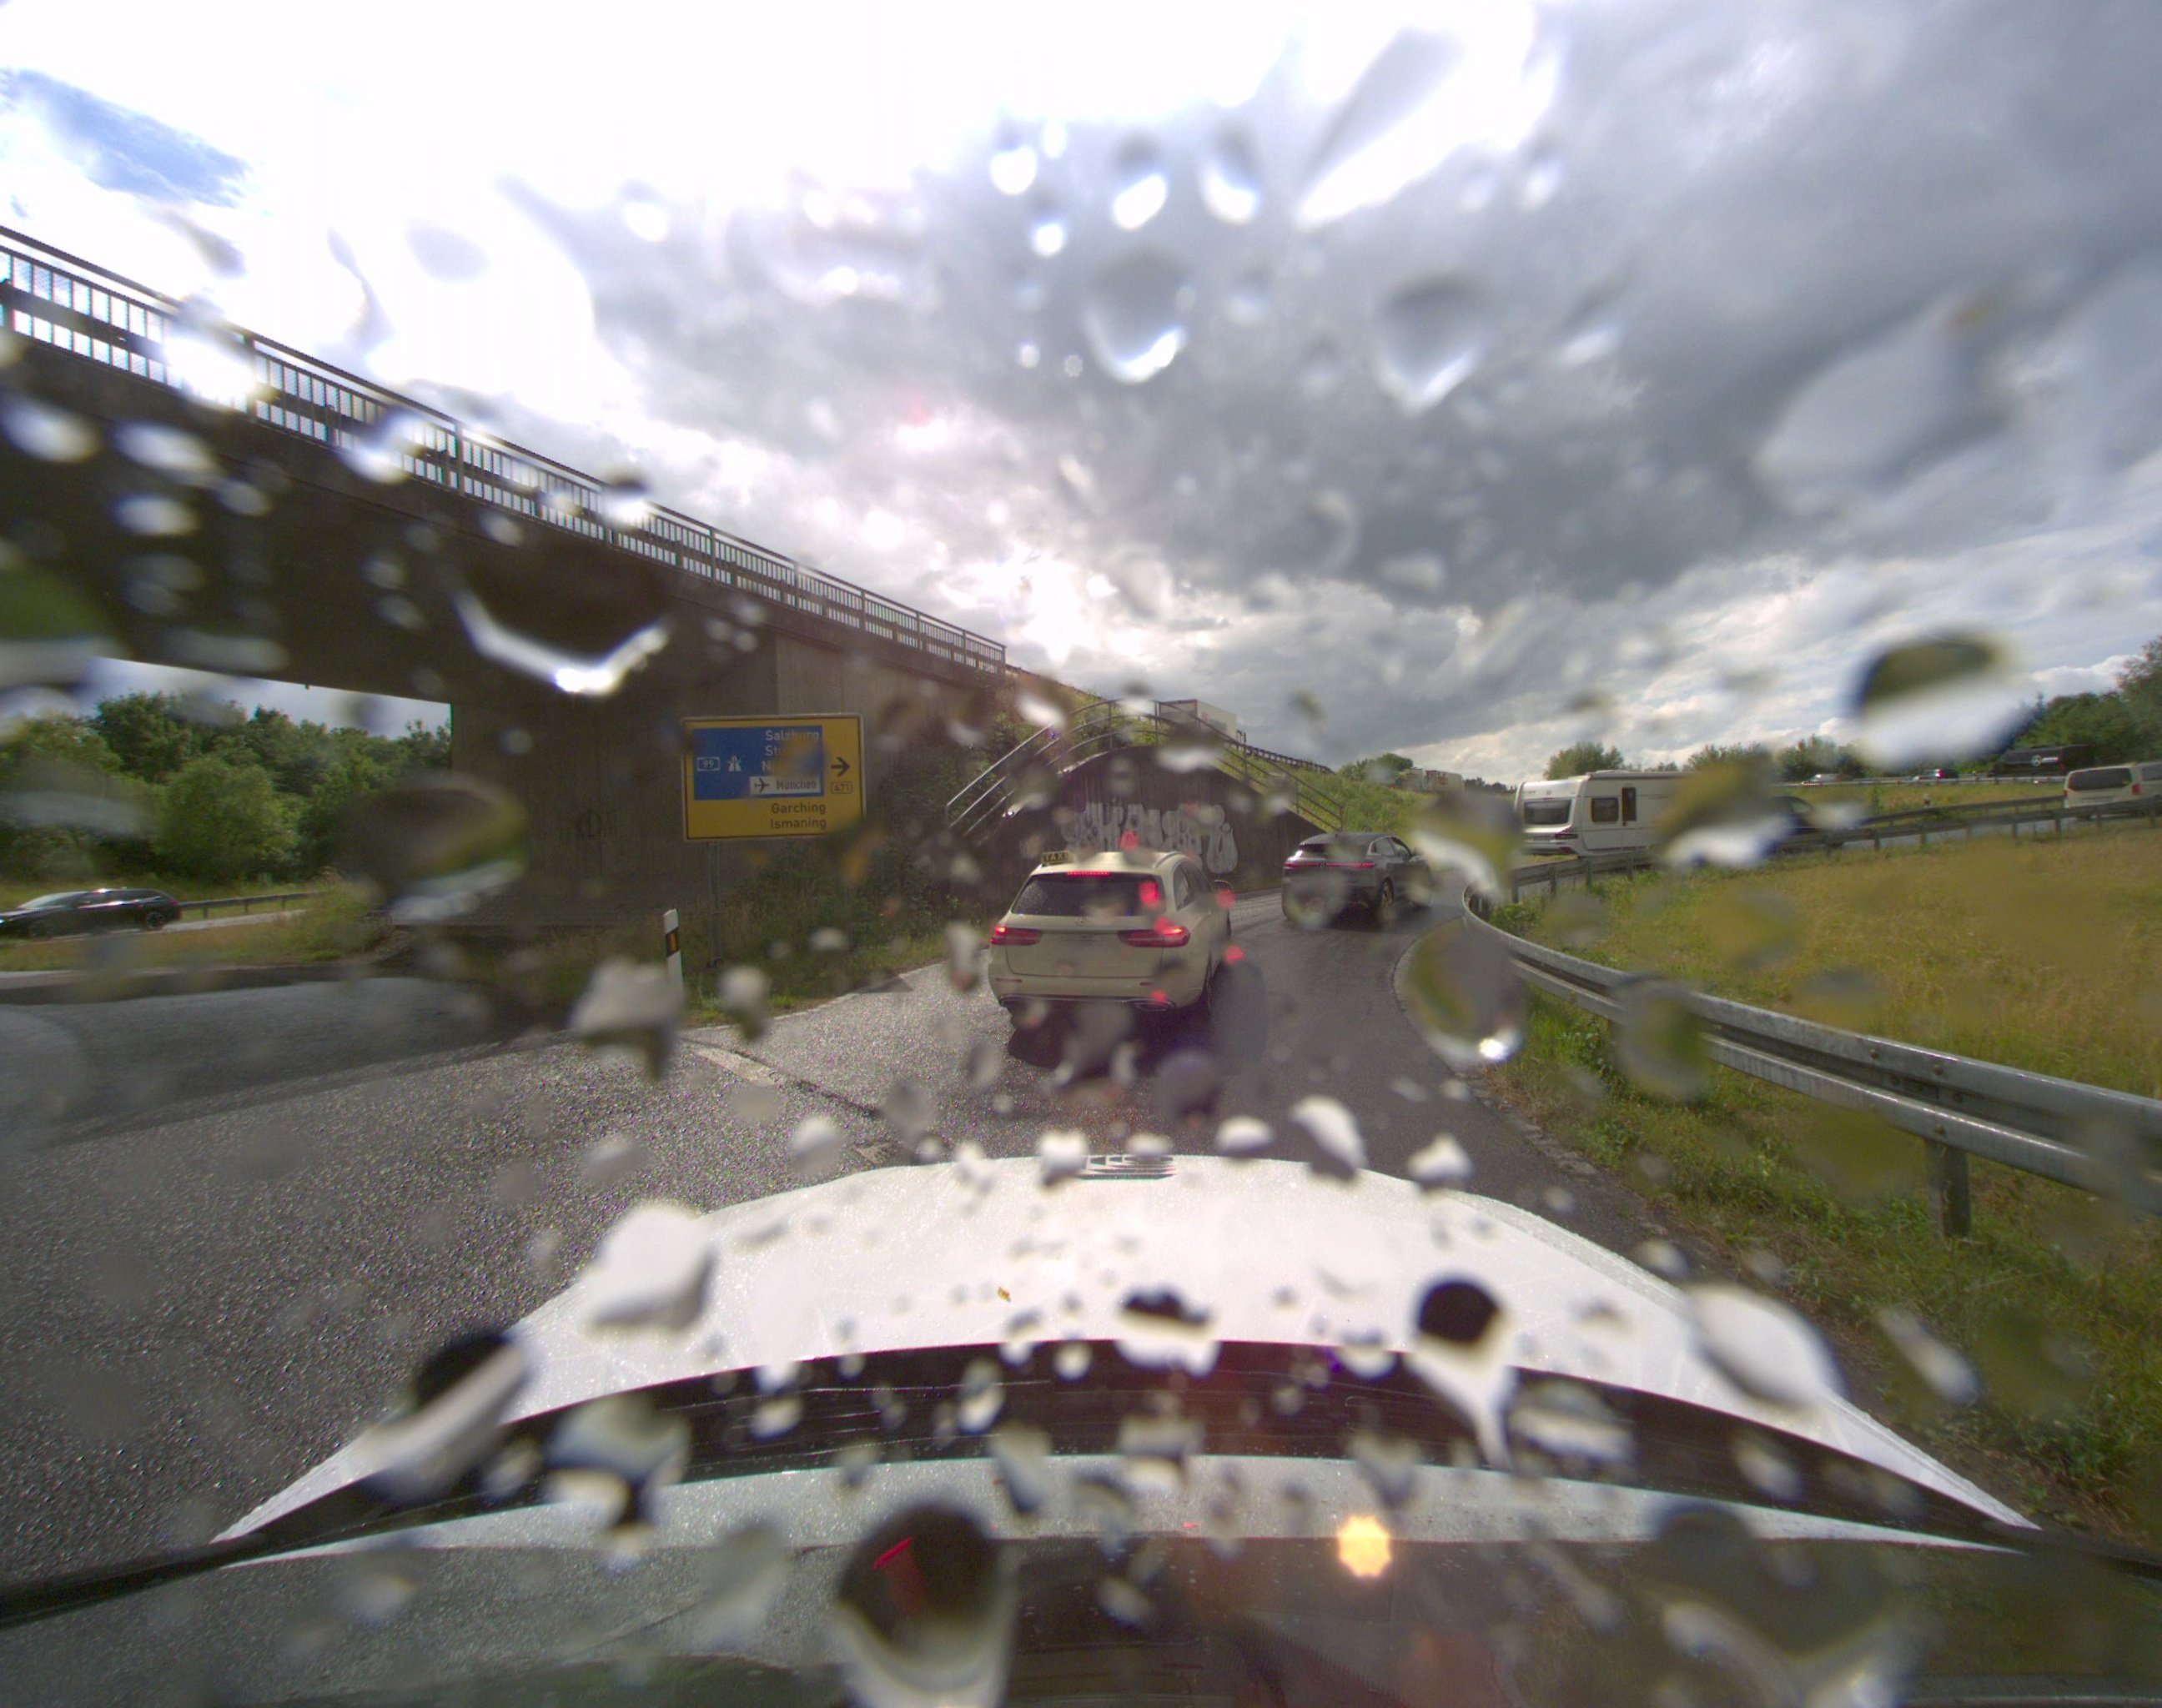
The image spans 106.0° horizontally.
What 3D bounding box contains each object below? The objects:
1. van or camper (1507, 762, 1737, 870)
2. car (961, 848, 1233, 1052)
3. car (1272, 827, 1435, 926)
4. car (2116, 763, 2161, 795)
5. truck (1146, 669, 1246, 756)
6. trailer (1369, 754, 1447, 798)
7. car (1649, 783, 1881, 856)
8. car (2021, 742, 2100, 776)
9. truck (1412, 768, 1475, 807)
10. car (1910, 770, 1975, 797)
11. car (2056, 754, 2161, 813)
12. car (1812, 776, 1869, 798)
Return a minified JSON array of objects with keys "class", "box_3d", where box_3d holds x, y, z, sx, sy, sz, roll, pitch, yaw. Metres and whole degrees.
[{"class":"van or camper","box_3d":[15.635,-1.148,23.558,6.001,2.729,2.423,-3,2,-19]},{"class":"car","box_3d":[0.505,0.730,8.443,1.903,1.507,4.612,-2,0,12]},{"class":"car","box_3d":[5.091,0.300,14.861,1.701,1.524,4.026,0,2,35]},{"class":"car","box_3d":[67.242,-4.721,50.291,1.646,1.784,5.083,-3,1,20]},{"class":"truck","box_3d":[7.611,-8.840,52.421,3.150,3.966,9.294,-1,0,29]},{"class":"trailer","box_3d":[42.174,-9.701,104.255,4.370,3.955,20.348,-1,0,36]},{"class":"car","box_3d":[20.958,-1.073,25.068,5.743,1.925,2.428,-3,3,-11]},{"class":"car","box_3d":[71.974,-6.941,59.933,1.977,2.013,4.020,-1,0,20]},{"class":"truck","box_3d":[53.678,-9.575,120.071,4.417,4.503,19.500,-1,0,36]},{"class":"car","box_3d":[75.541,-6.175,71.486,1.980,2.013,4.013,-3,0,11]},{"class":"car","box_3d":[37.860,-2.531,29.088,5.051,1.861,1.989,-3,0,-16]},{"class":"car","box_3d":[75.580,-6.635,81.129,1.987,2.013,4.000,-3,2,0]}]
